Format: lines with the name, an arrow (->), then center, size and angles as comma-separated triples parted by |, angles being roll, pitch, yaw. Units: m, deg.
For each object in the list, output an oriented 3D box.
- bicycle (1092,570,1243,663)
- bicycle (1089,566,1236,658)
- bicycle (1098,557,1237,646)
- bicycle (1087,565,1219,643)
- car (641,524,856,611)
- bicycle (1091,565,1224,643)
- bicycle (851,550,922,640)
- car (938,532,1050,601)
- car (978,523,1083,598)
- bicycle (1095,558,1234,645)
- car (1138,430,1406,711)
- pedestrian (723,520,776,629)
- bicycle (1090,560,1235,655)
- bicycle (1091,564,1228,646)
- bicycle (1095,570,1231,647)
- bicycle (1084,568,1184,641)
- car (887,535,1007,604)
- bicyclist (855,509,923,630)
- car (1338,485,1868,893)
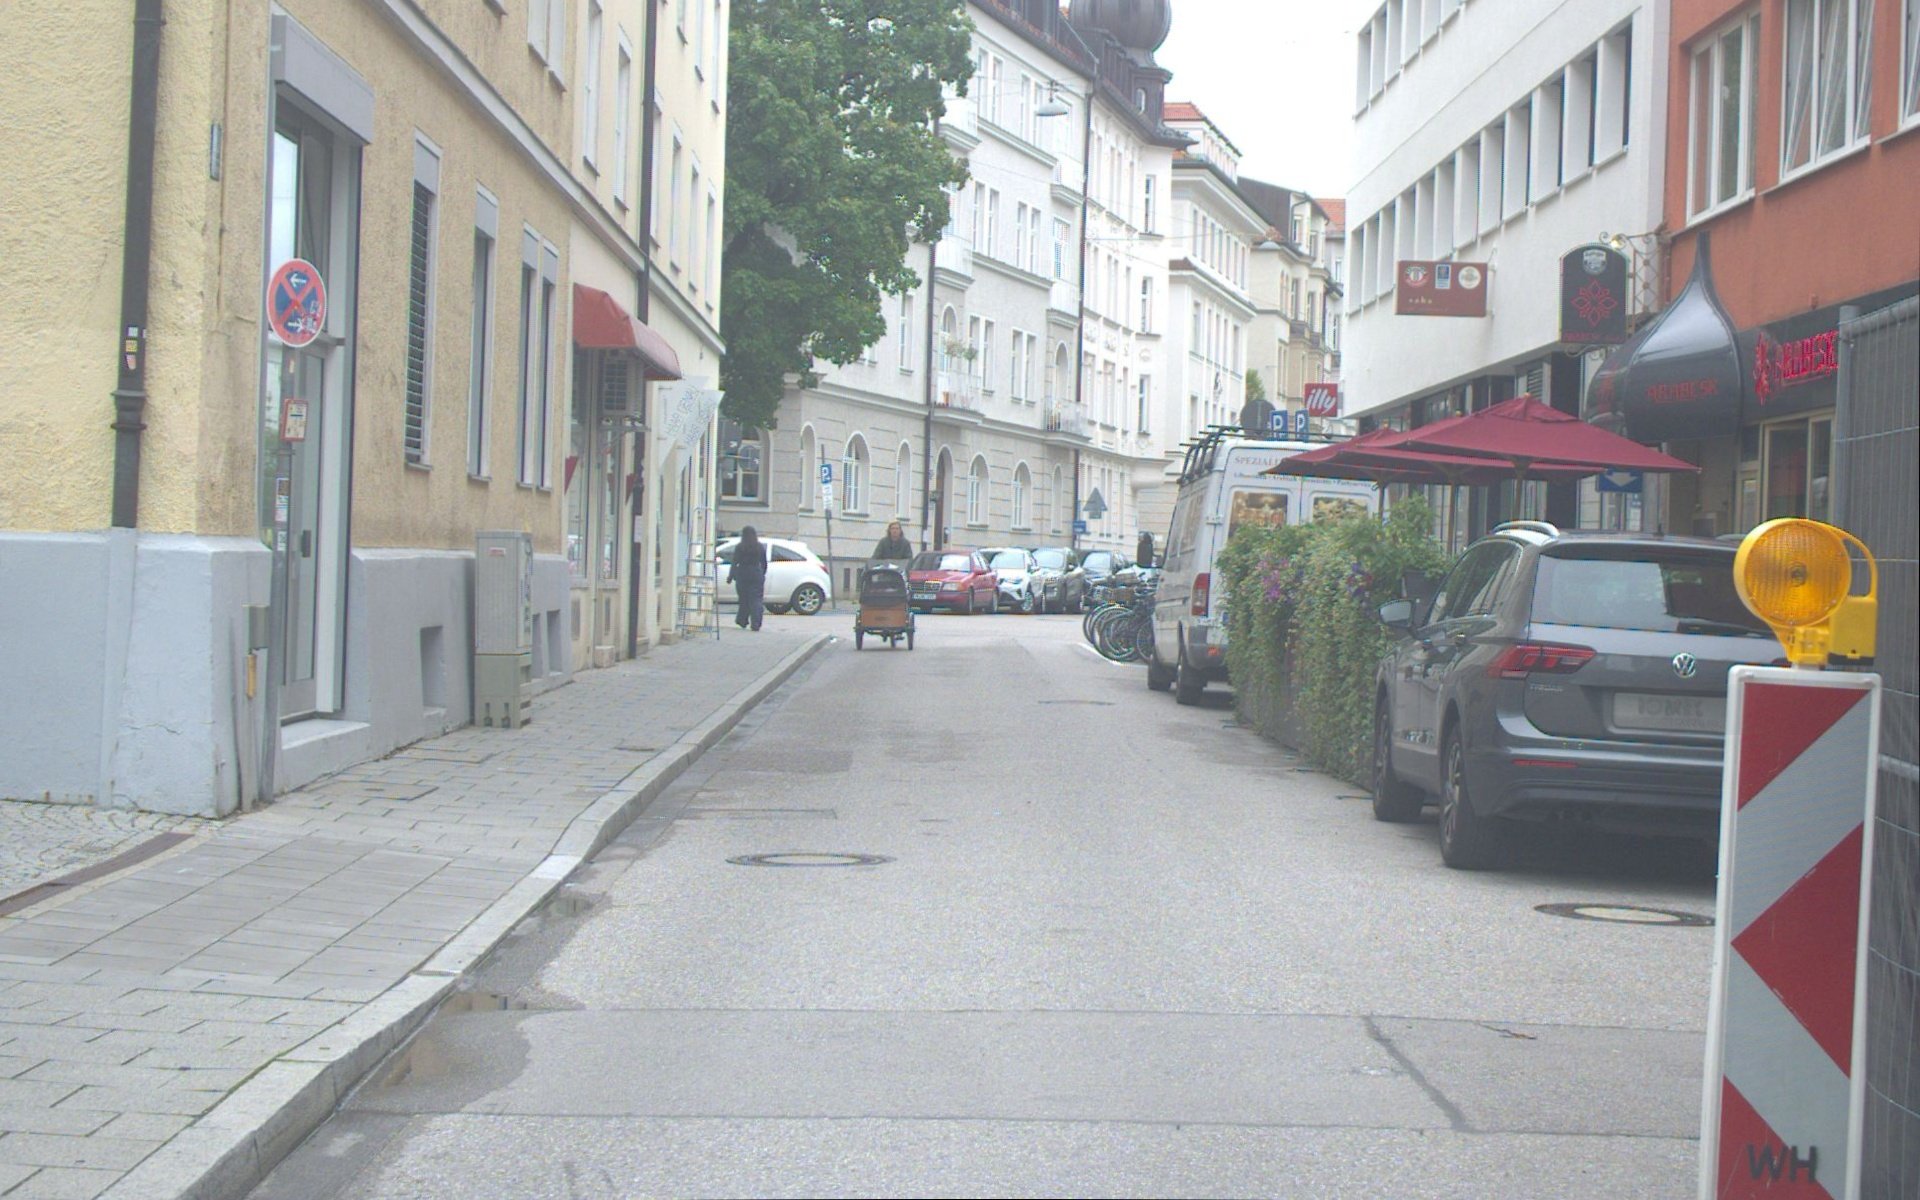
bicycle -> 2.729, 0.213, 45.233 | 1.873, 1.076, 0.488 | 4, 2, -2
bicycle -> 2.715, 0.160, 46.134 | 1.873, 1.104, 0.488 | 4, 2, -2
bicycle -> 2.891, 0.021, 48.066 | 1.873, 1.200, 0.580 | 1, 1, -2
bicycle -> 2.865, 0.063, 51.079 | 1.873, 1.076, 0.408 | 2, 2, -3
car -> -4.077, -0.615, 66.019 | 3.757, 1.572, 2.001 | 1, 0, -15
bicycle -> 2.904, 0.061, 50.639 | 1.873, 1.076, 0.402 | 2, 2, -3
bicycle -> -1.035, -0.077, 49.231 | 0.932, 1.253, 2.414 | 1, 0, 0
car -> 0.817, -0.766, 79.427 | 1.994, 1.468, 4.217 | 2, 1, 8
car -> 1.758, -0.966, 84.552 | 1.944, 1.696, 3.998 | 3, 1, 10
bicycle -> 2.892, 0.016, 48.667 | 1.893, 1.166, 0.566 | 1, 1, -3
car -> 3.046, -0.332, 34.841 | 1.920, 2.497, 5.997 | 3, 1, -1
pedestrian -> -3.215, -0.390, 52.537 | 0.693, 1.626, 0.663 | 3, 1, -1
bicycle -> 2.741, 0.098, 46.654 | 1.873, 1.200, 0.488 | 2, 2, -2
bicycle -> 2.855, 0.066, 49.238 | 1.873, 1.091, 0.440 | 2, 2, -3
bicycle -> 2.946, 0.128, 49.942 | 1.873, 1.048, 0.564 | 2, -1, -3
bicycle -> 2.704, 0.069, 53.554 | 1.450, 1.066, 0.463 | 2, 1, -7
car -> -0.253, -0.657, 74.536 | 1.731, 1.373, 4.224 | 2, 1, 12
bicyclist -> -1.023, -0.445, 49.577 | 0.926, 1.715, 1.099 | 1, 1, 0
car -> 3.067, 0.358, 17.321 | 1.824, 1.704, 4.389 | 3, 1, 1
